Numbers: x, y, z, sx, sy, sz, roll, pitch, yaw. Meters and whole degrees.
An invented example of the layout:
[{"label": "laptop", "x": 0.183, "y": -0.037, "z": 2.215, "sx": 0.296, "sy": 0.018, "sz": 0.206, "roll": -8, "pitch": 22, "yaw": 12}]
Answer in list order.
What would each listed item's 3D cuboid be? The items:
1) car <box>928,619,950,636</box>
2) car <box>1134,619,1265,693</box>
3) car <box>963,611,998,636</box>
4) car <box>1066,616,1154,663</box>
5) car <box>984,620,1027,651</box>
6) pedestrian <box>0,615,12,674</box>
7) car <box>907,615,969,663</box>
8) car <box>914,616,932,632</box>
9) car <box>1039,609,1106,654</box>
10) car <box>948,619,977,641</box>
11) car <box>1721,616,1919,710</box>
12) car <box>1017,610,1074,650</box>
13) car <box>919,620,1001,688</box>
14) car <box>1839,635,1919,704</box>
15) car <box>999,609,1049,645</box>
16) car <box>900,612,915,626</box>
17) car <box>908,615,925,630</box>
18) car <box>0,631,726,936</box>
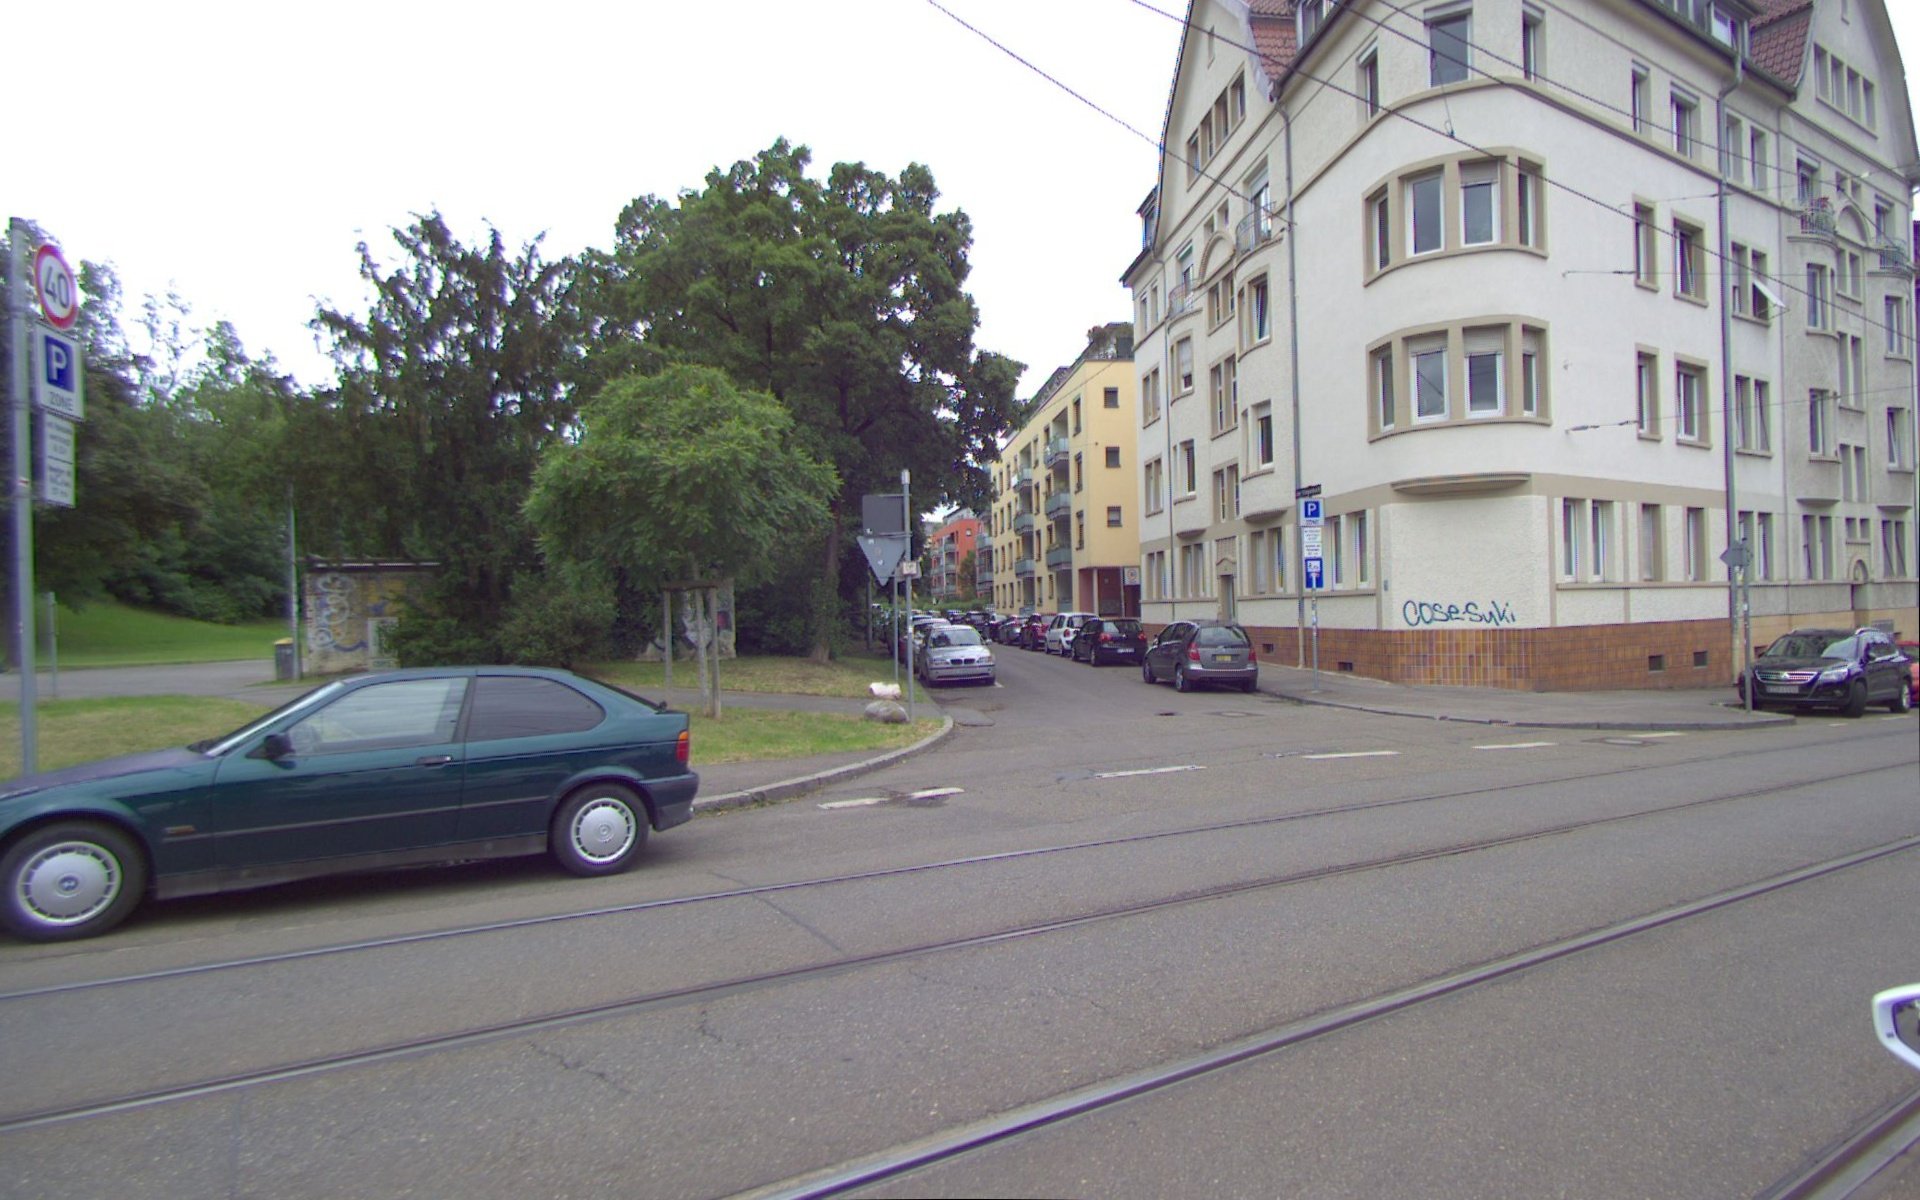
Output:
[{"label": "car", "x": -1.992, "y": 2.594, "z": 94.658, "sx": 1.727, "sy": 1.564, "sz": 3.997, "roll": 1, "pitch": -1, "yaw": -5}, {"label": "car", "x": 5.551, "y": 1.266, "z": 23.760, "sx": 1.841, "sy": 1.592, "sz": 3.997, "roll": 1, "pitch": -1, "yaw": -5}, {"label": "car", "x": 1.266, "y": 1.489, "z": 63.656, "sx": 1.727, "sy": 1.564, "sz": 3.997, "roll": 1, "pitch": -1, "yaw": -5}, {"label": "car", "x": 4.656, "y": 1.222, "z": 31.761, "sx": 1.841, "sy": 1.372, "sz": 3.997, "roll": 1, "pitch": -1, "yaw": -5}, {"label": "car", "x": 2.372, "y": 1.865, "z": 53.198, "sx": 1.727, "sy": 1.564, "sz": 3.997, "roll": 1, "pitch": -1, "yaw": -5}, {"label": "pedestrian", "x": -25.095, "y": 1.148, "z": 26.062, "sx": 0.578, "sy": 1.504, "sz": 0.493, "roll": 2, "pitch": -1, "yaw": -31}, {"label": "car", "x": -0.766, "y": 1.232, "z": 32.466, "sx": 1.727, "sy": 1.438, "sz": 3.997, "roll": 1, "pitch": -1, "yaw": -5}, {"label": "car", "x": -3.878, "y": 2.473, "z": 104.576, "sx": 1.727, "sy": 1.564, "sz": 3.997, "roll": 1, "pitch": -1, "yaw": -5}, {"label": "car", "x": 4.123, "y": 1.172, "z": 37.364, "sx": 1.727, "sy": 1.564, "sz": 3.997, "roll": 1, "pitch": -1, "yaw": -5}, {"label": "car", "x": 0.187, "y": 2.179, "z": 72.802, "sx": 1.727, "sy": 1.564, "sz": 3.997, "roll": 1, "pitch": -1, "yaw": -5}, {"label": "car", "x": 17.035, "y": 1.239, "z": 19.841, "sx": 4.356, "sy": 1.667, "sz": 1.857, "roll": 3, "pitch": -3, "yaw": -33}, {"label": "car", "x": 3.535, "y": 1.248, "z": 42.116, "sx": 1.727, "sy": 1.564, "sz": 3.997, "roll": 1, "pitch": -1, "yaw": -5}, {"label": "car", "x": -0.074, "y": 1.313, "z": 25.641, "sx": 1.727, "sy": 1.459, "sz": 3.996, "roll": 0, "pitch": 1, "yaw": -5}, {"label": "car", "x": 21.910, "y": 1.576, "z": 23.105, "sx": 3.706, "sy": 1.482, "sz": 1.611, "roll": 3, "pitch": -3, "yaw": -33}, {"label": "car", "x": 2.970, "y": 1.257, "z": 47.125, "sx": 1.727, "sy": 1.564, "sz": 3.997, "roll": 1, "pitch": -1, "yaw": -5}, {"label": "car", "x": -6.298, "y": 2.306, "z": 120.188, "sx": 1.727, "sy": 1.564, "sz": 3.997, "roll": 1, "pitch": -1, "yaw": -5}, {"label": "car", "x": -4.815, "y": 2.505, "z": 111.252, "sx": 1.727, "sy": 1.564, "sz": 3.997, "roll": 1, "pitch": -1, "yaw": -5}, {"label": "car", "x": -3.795, "y": 0.993, "z": 6.542, "sx": 4.112, "sy": 1.497, "sz": 1.611, "roll": 3, "pitch": -3, "yaw": -33}]
